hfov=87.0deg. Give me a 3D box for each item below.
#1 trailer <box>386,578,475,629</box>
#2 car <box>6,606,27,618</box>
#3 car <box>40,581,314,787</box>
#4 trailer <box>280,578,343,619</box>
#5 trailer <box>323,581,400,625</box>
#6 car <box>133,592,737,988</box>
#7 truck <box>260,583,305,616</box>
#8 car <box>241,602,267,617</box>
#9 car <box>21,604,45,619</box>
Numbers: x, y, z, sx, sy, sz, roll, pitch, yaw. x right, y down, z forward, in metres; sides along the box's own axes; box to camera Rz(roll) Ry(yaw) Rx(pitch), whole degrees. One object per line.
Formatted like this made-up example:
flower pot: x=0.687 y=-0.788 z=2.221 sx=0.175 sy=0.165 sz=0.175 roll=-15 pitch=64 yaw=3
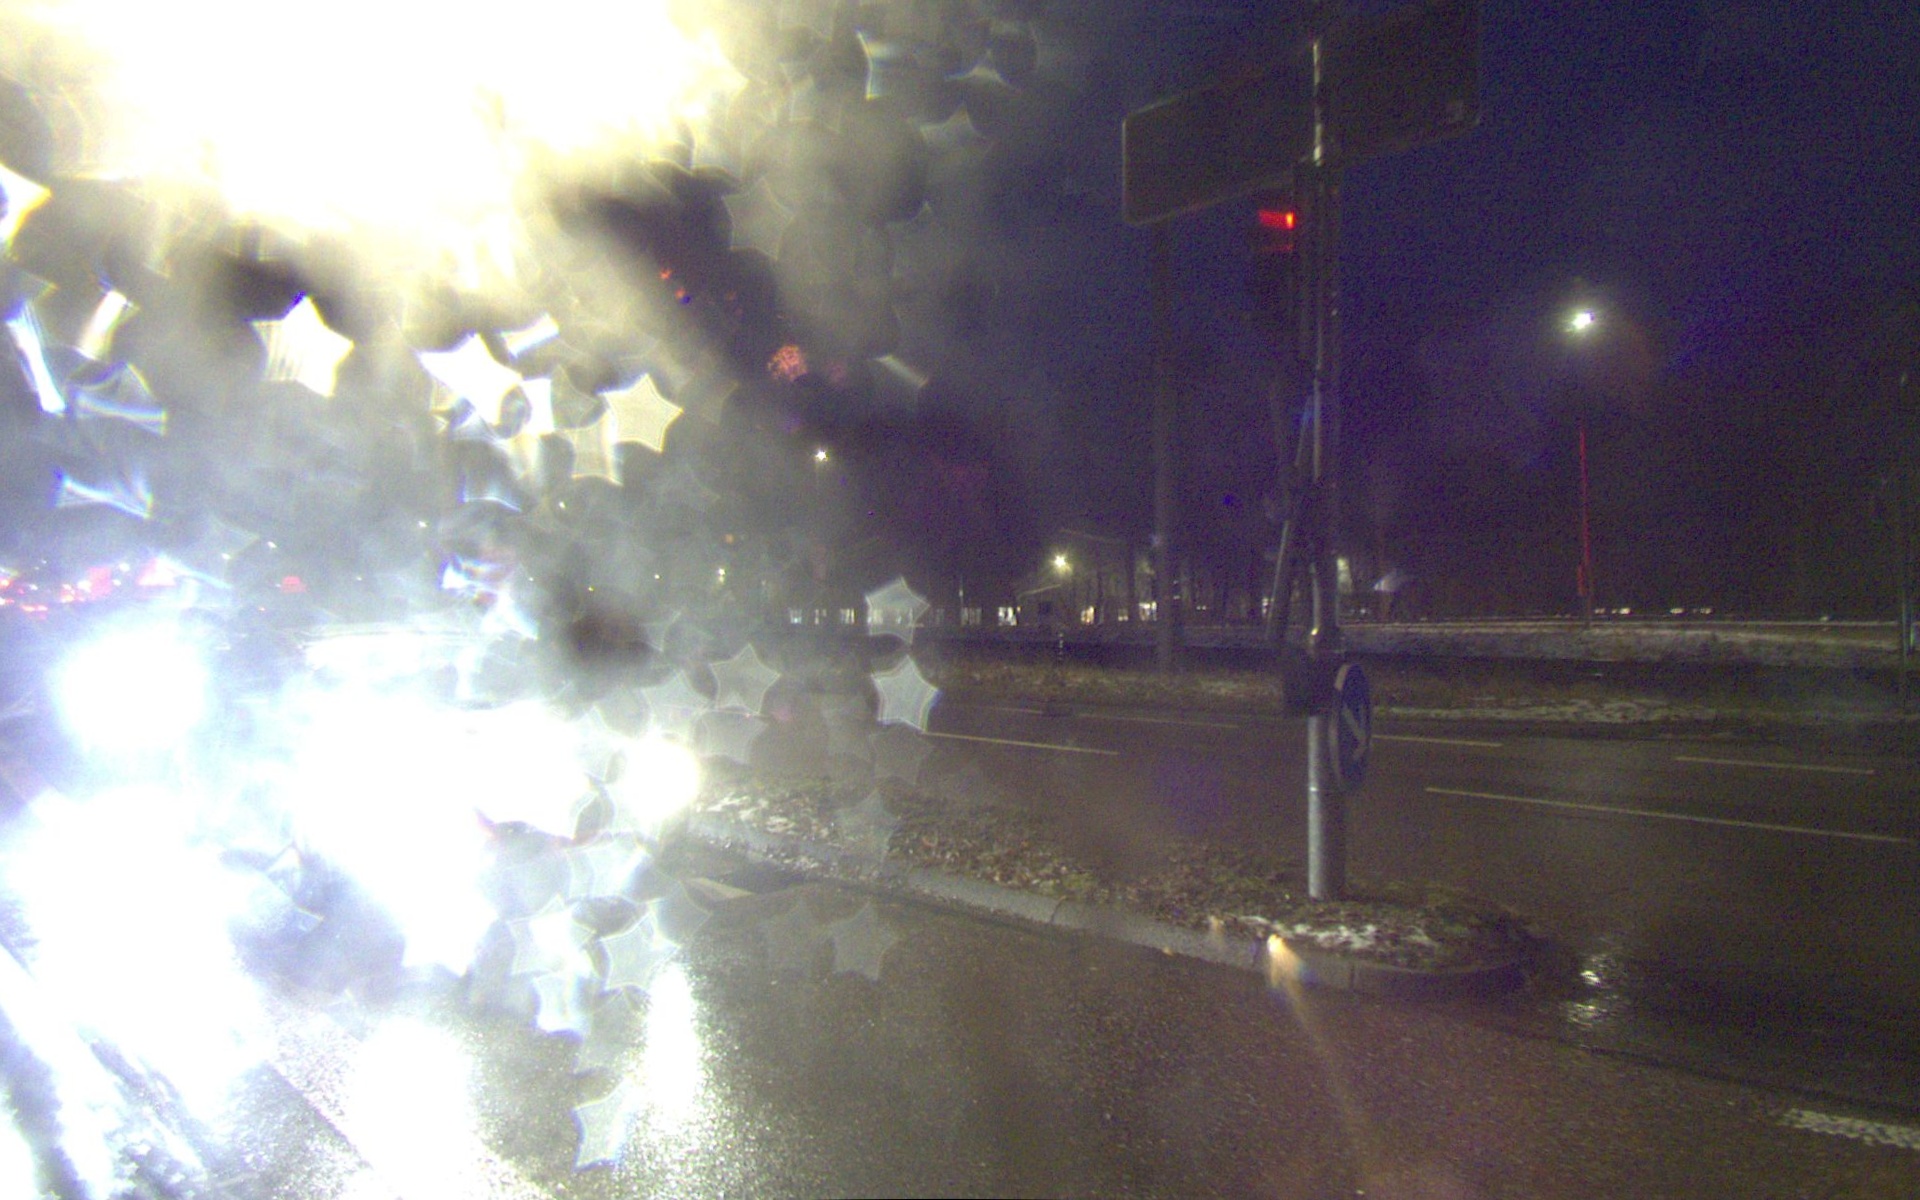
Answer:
trailer: x=-54.727 y=0.251 z=104.303 sx=3.926 sy=4.643 sz=14.257 roll=-6 pitch=4 yaw=-45
car: x=-129.962 y=1.677 z=139.356 sx=4.031 sy=1.600 sz=1.782 roll=0 pitch=1 yaw=43
car: x=-8.636 y=0.760 z=11.000 sx=4.437 sy=1.795 sz=1.764 roll=-1 pitch=-1 yaw=44
trailer: x=-88.744 y=-0.293 z=138.384 sx=3.926 sy=5.049 sz=14.845 roll=-6 pitch=4 yaw=-45
trailer: x=-70.765 y=0.211 z=119.419 sx=3.926 sy=4.643 sz=15.525 roll=-6 pitch=4 yaw=-45
car: x=-3.384 y=0.771 z=6.054 sx=4.435 sy=1.522 sz=1.764 roll=-1 pitch=-2 yaw=42
truck: x=-100.868 y=-0.144 z=150.499 sx=3.400 sy=4.643 sz=10.219 roll=-6 pitch=4 yaw=-45
car: x=-84.207 y=1.112 z=120.696 sx=4.220 sy=1.706 sz=1.766 roll=-1 pitch=1 yaw=44
car: x=-113.802 y=1.415 z=124.178 sx=4.652 sy=1.654 sz=1.742 roll=-1 pitch=1 yaw=42
